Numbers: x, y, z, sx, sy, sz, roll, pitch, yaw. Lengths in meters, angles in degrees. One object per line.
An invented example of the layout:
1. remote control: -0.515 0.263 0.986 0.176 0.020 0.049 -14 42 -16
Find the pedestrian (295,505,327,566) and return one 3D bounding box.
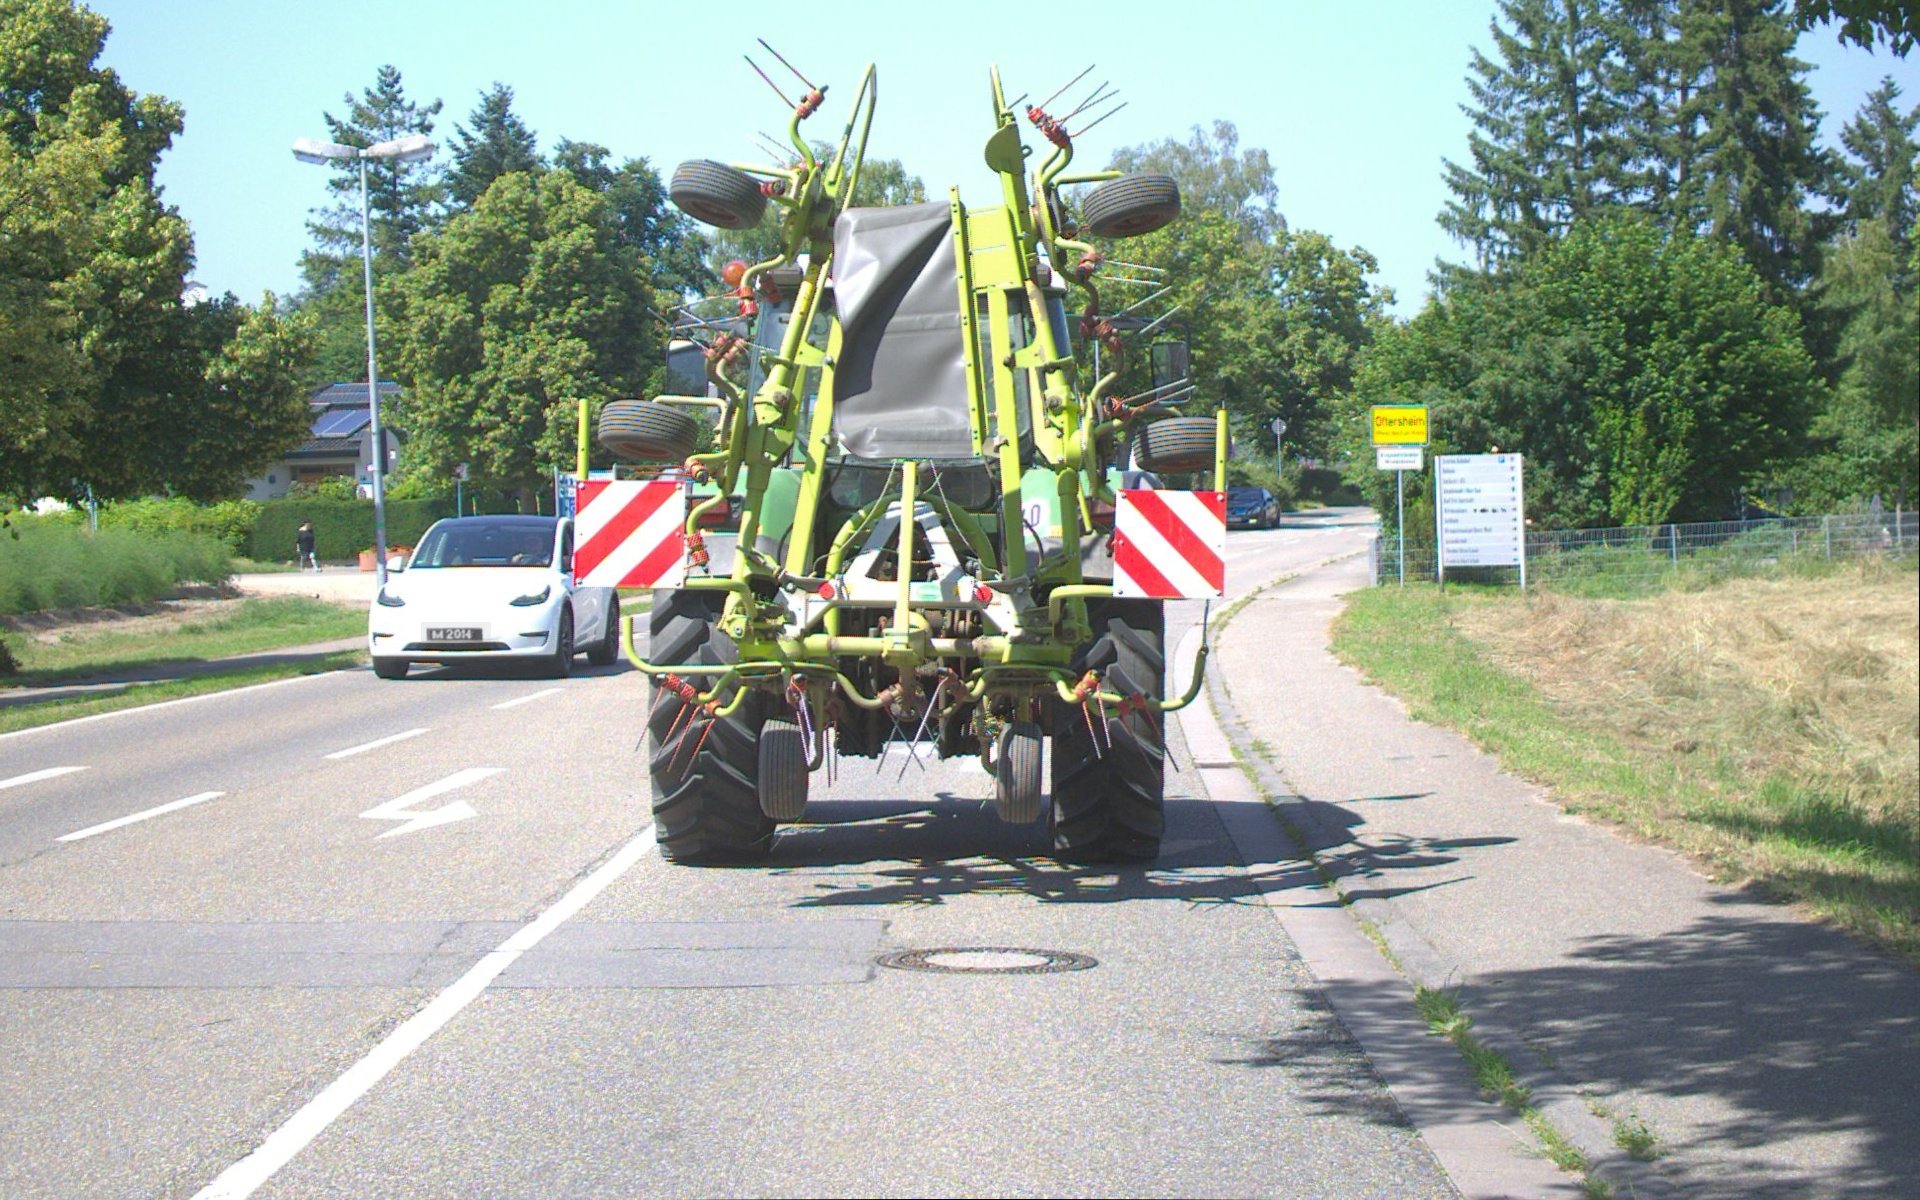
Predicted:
1. pedestrian: -18.192 -1.807 96.347 0.550 1.711 0.674 2 1 43

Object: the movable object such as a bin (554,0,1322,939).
1. movable object such as a bin: -0.232 -0.646 17.779 2.852 3.529 9.702 1 2 -2

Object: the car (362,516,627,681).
1. car: -4.734 -0.068 35.562 1.876 1.567 4.471 0 2 3
